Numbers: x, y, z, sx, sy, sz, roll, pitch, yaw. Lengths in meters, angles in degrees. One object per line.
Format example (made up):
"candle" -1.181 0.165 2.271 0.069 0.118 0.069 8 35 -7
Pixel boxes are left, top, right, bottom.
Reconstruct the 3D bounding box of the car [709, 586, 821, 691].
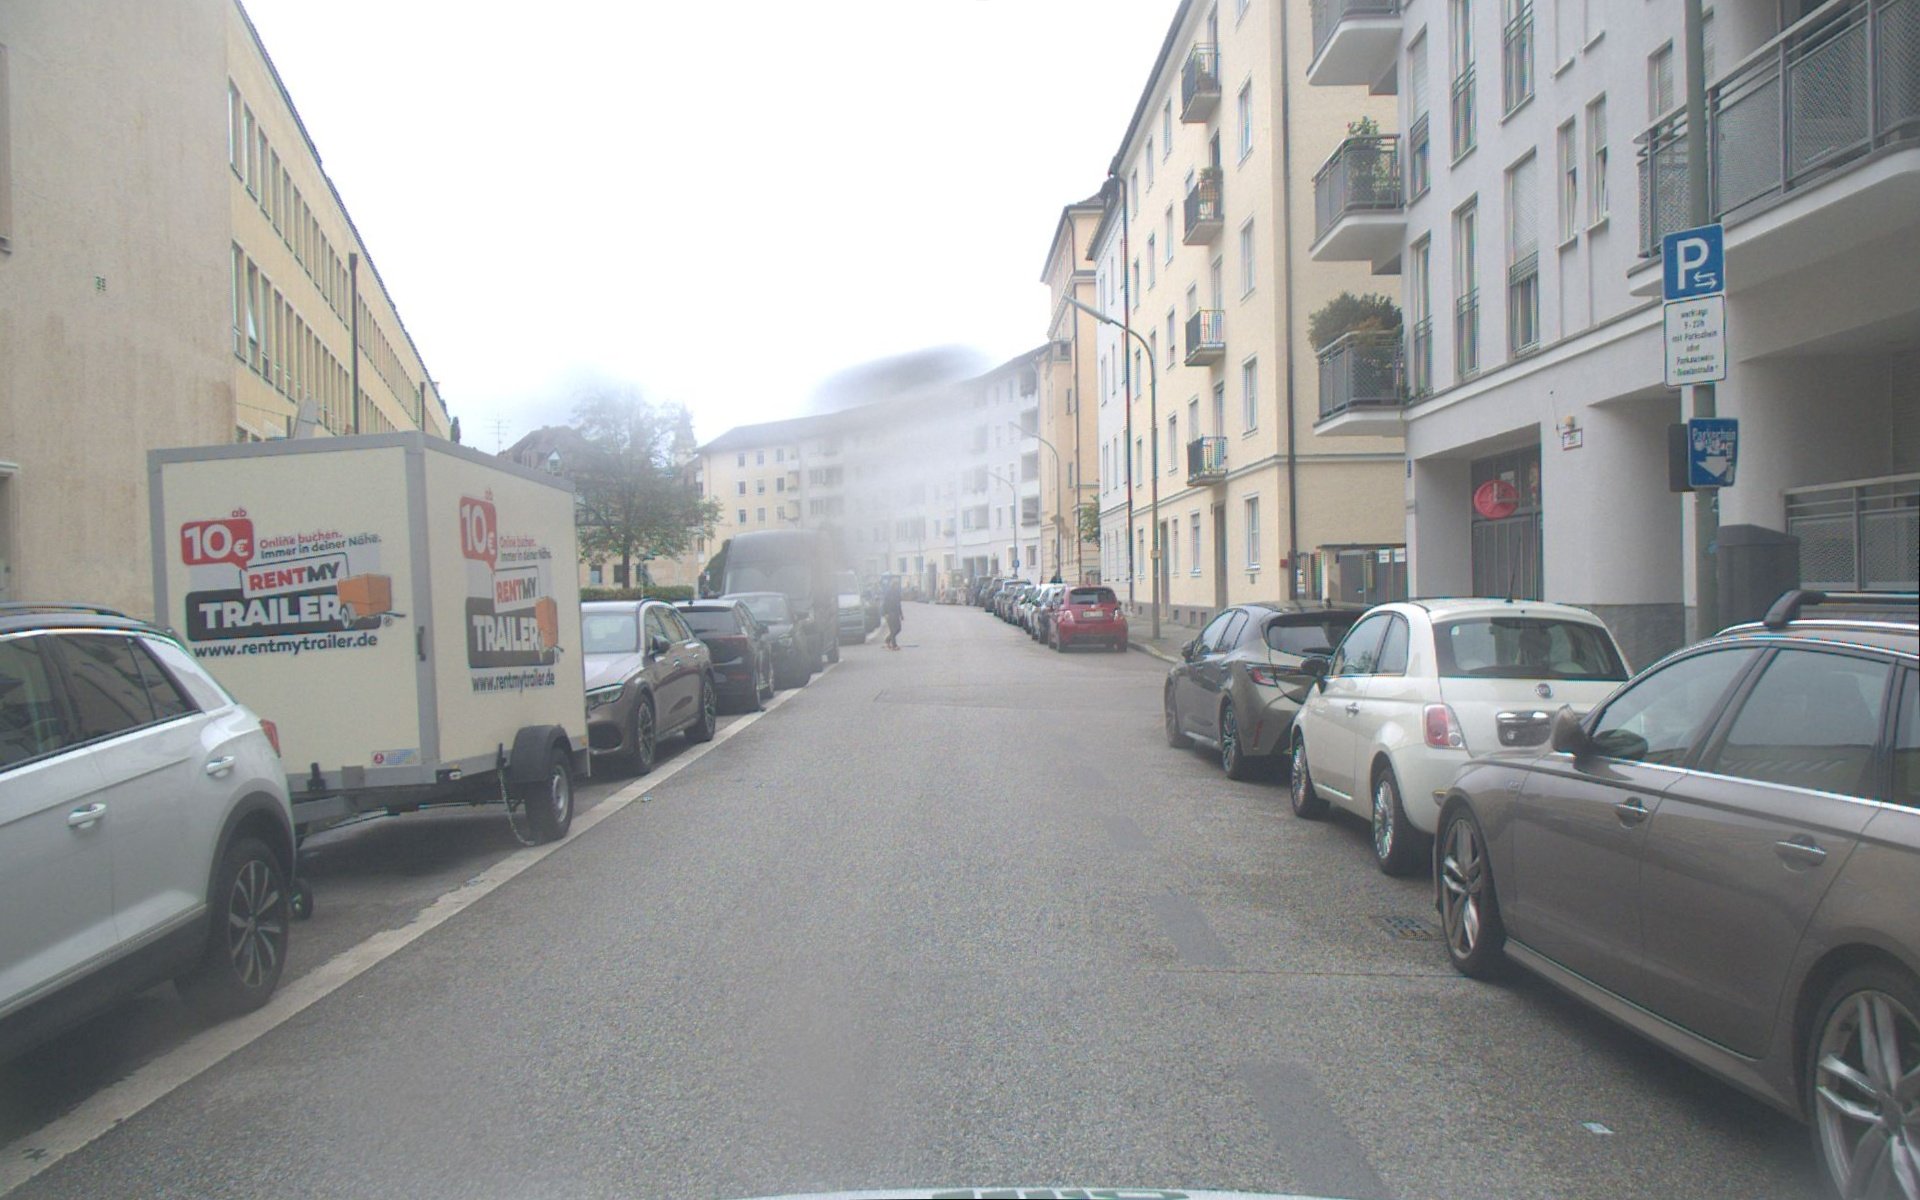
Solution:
"car" -3.166 0.583 27.363 1.554 1.565 3.542 -2 0 -3

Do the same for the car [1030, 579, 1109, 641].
"car" 2.873 0.255 44.206 1.658 1.517 4.342 -2 0 -2

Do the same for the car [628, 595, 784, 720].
"car" -3.359 0.708 22.468 1.667 1.471 3.823 -1 1 -3

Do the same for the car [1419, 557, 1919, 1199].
"car" 2.937 0.689 4.985 1.699 1.557 4.620 1 0 -2

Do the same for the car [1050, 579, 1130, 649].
"car" 3.015 0.299 38.942 1.563 1.535 3.801 -1 1 0

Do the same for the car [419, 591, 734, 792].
"car" -3.482 0.743 15.926 1.730 1.565 4.542 -3 0 2

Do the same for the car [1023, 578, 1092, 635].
"car" 2.869 0.159 49.568 1.658 1.517 4.282 -2 1 -2

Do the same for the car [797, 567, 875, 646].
"car" -3.353 0.128 45.332 1.845 1.965 4.599 -3 1 -2

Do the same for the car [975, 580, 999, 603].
"car" 1.545 -0.512 96.016 1.246 1.321 2.796 -1 1 -2

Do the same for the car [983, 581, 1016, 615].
"car" 1.994 -0.122 83.988 1.444 1.669 4.000 0 1 -2

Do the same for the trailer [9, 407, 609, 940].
"trailer" -3.638 0.333 10.246 1.674 2.504 4.388 -3 1 3

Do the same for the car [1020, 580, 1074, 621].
"car" 3.123 0.011 59.961 1.658 1.457 3.943 0 0 -2

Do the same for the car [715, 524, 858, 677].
"car" -3.266 -0.047 32.245 2.045 2.682 5.378 -1 1 1

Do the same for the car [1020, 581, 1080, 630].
"car" 2.942 0.146 54.605 1.567 1.517 3.797 -1 1 -3

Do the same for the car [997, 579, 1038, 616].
"car" 2.566 -0.141 74.058 1.558 1.610 4.298 0 1 -2

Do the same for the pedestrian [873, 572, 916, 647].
"pedestrian" -1.569 0.232 39.488 0.661 1.758 0.791 -1 -2 43

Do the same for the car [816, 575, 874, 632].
"car" -3.818 0.078 55.476 1.667 1.720 4.027 -3 1 -1

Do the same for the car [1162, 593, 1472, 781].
"car" 3.037 0.674 14.940 1.728 1.432 4.076 -1 0 -3

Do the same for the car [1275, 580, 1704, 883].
"car" 3.069 0.665 10.285 1.488 1.557 3.526 0 0 -1

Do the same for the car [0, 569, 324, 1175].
"car" -3.457 0.775 4.844 1.653 1.630 3.920 -3 1 -1
